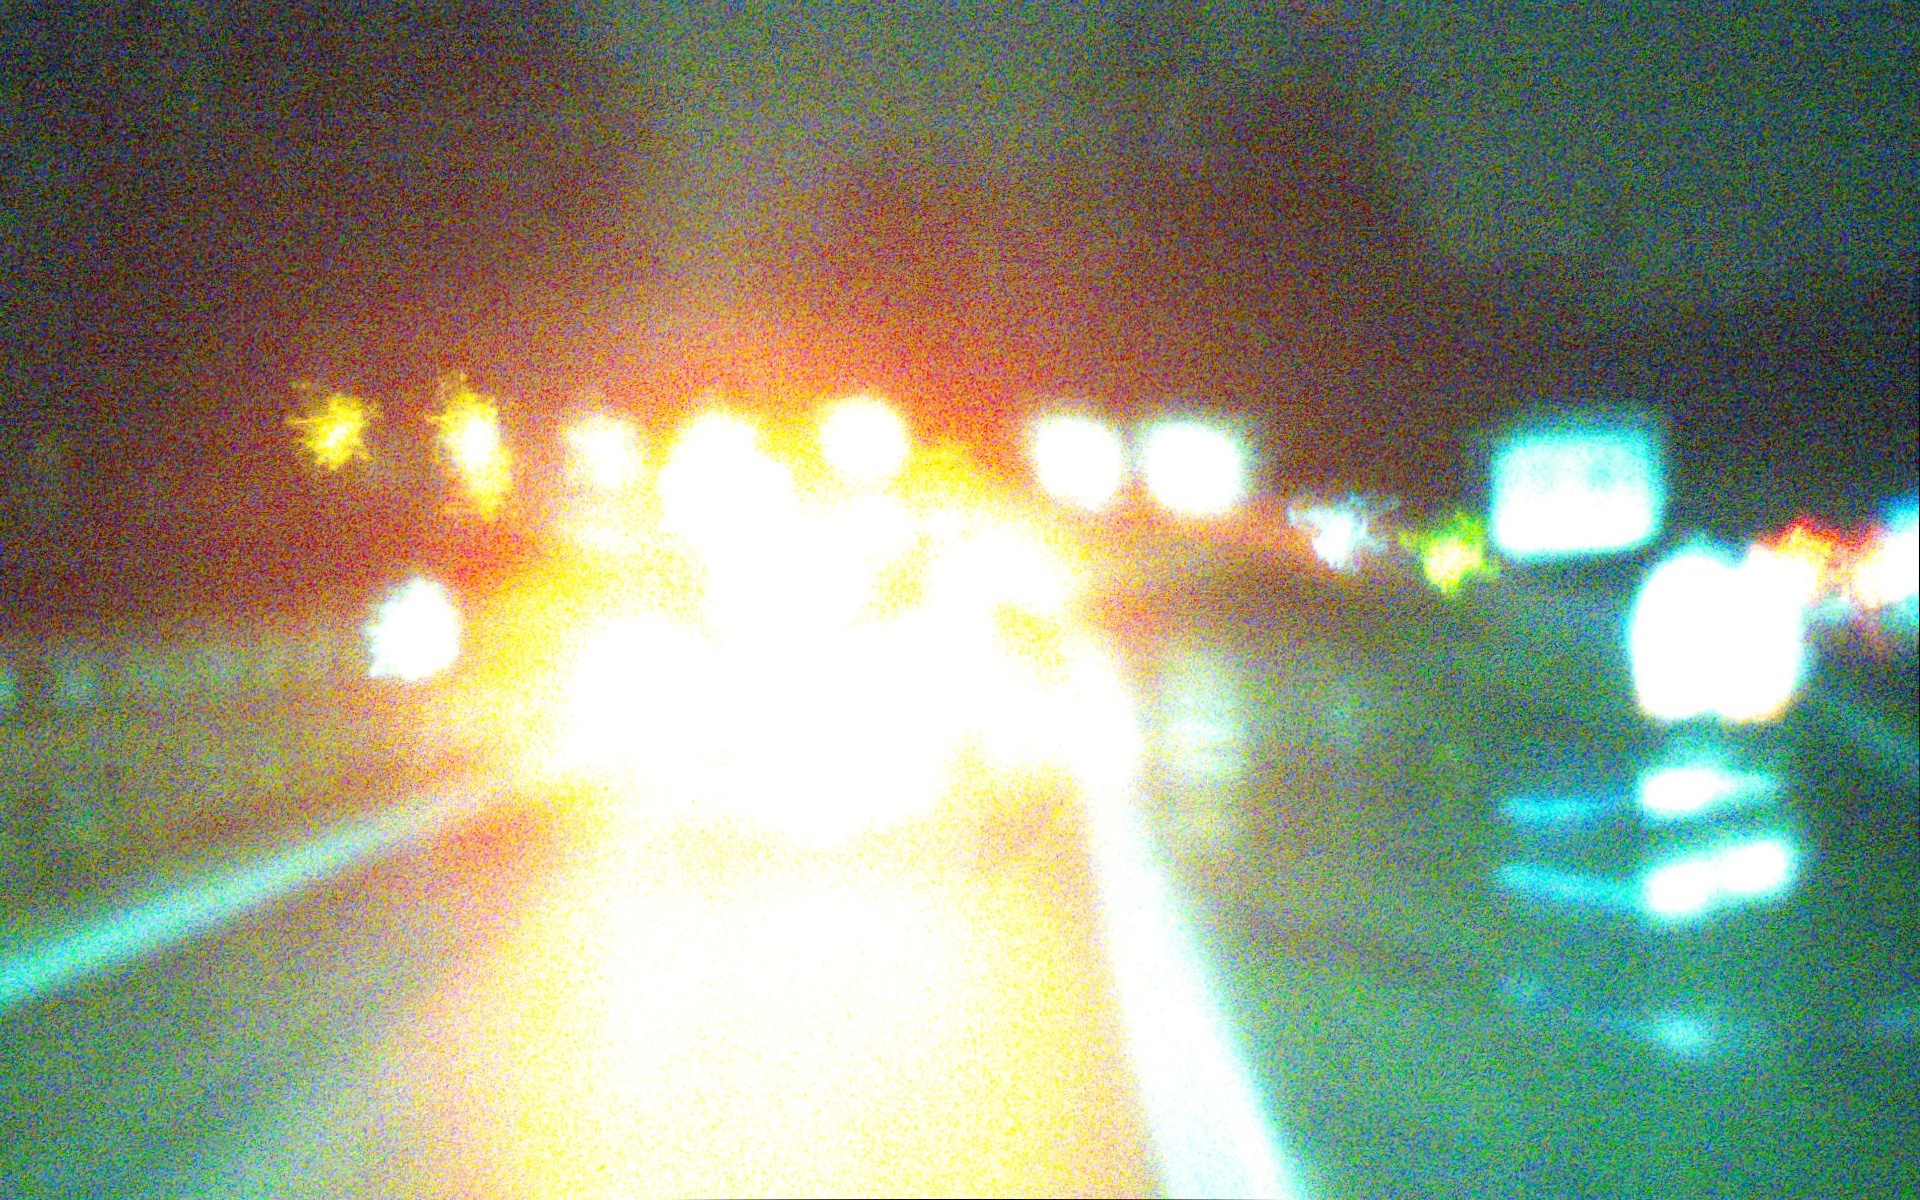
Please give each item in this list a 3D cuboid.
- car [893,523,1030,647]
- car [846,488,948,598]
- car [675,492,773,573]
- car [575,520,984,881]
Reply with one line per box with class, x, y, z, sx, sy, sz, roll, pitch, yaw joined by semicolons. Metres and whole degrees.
car;-0.002;-0.212;49.531;1.895;1.715;4.046;0;0;-1
car;-1.196;-1.067;66.143;1.895;2.033;4.046;0;0;-1
car;-5.985;-1.693;86.880;1.895;1.991;4.047;0;0;-12
car;-0.859;0.427;17.703;1.860;1.641;4.069;0;1;-1
